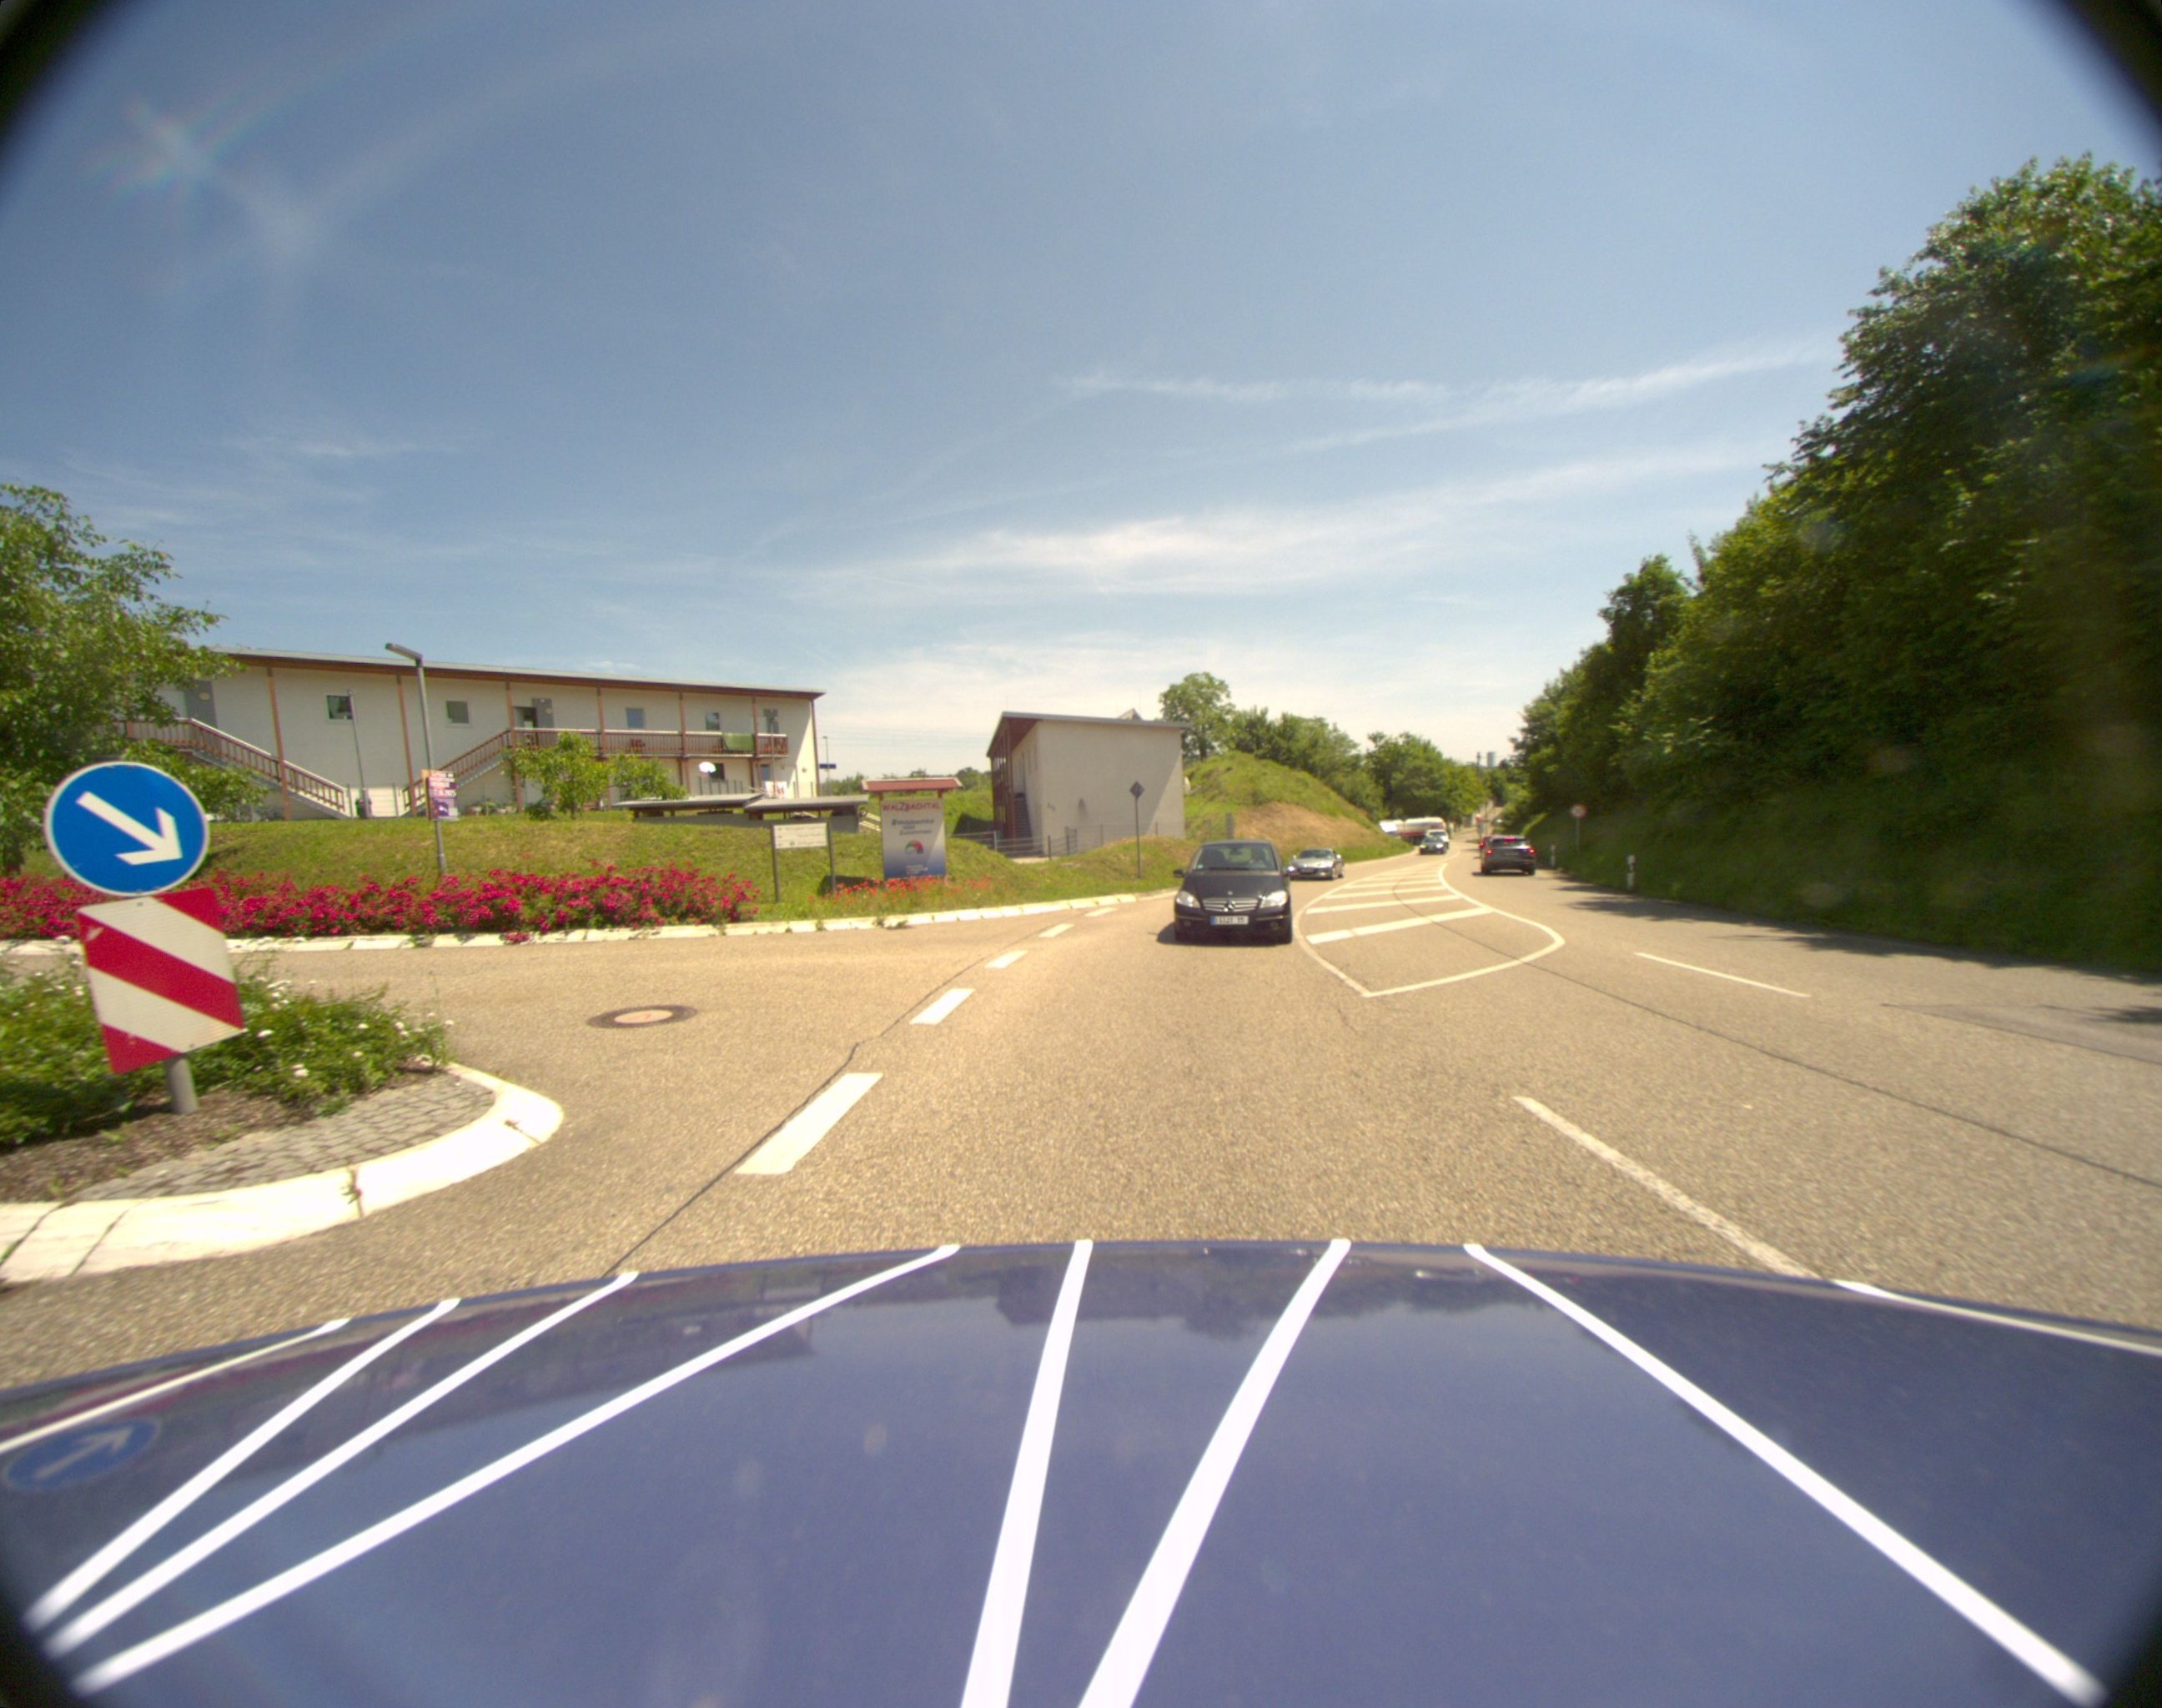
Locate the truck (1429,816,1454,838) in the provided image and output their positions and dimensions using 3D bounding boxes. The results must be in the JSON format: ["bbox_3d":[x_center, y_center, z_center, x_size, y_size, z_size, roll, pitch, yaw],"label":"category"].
[{"bbox_3d":[35.129,-2.618,74.125,2.068,2.002,5.252,-2,2,24],"label":"truck"}]

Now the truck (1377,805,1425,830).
[{"bbox_3d":[43.619,-4.968,103.759,2.634,3.153,7.060,-3,2,-10],"label":"truck"}]

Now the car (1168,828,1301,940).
[{"bbox_3d":[2.721,0.354,12.809,1.793,1.571,3.803,1,2,18],"label":"car"}]

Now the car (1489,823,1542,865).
[{"bbox_3d":[17.794,-0.451,31.255,1.792,1.596,4.186,-1,2,28],"label":"car"}]

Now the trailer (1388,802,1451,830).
[{"bbox_3d":[43.803,-4.807,98.896,2.640,3.354,11.135,-3,2,-3],"label":"trailer"}]

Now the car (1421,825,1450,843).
[{"bbox_3d":[27.850,-1.567,59.578,1.752,1.281,4.152,-2,1,29],"label":"car"}]

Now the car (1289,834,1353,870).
[{"bbox_3d":[9.459,-0.119,29.781,1.644,1.315,3.444,1,2,31],"label":"car"}]

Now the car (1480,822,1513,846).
[{"bbox_3d":[26.769,-1.317,49.018,1.751,1.440,4.006,-1,2,28],"label":"car"}]
